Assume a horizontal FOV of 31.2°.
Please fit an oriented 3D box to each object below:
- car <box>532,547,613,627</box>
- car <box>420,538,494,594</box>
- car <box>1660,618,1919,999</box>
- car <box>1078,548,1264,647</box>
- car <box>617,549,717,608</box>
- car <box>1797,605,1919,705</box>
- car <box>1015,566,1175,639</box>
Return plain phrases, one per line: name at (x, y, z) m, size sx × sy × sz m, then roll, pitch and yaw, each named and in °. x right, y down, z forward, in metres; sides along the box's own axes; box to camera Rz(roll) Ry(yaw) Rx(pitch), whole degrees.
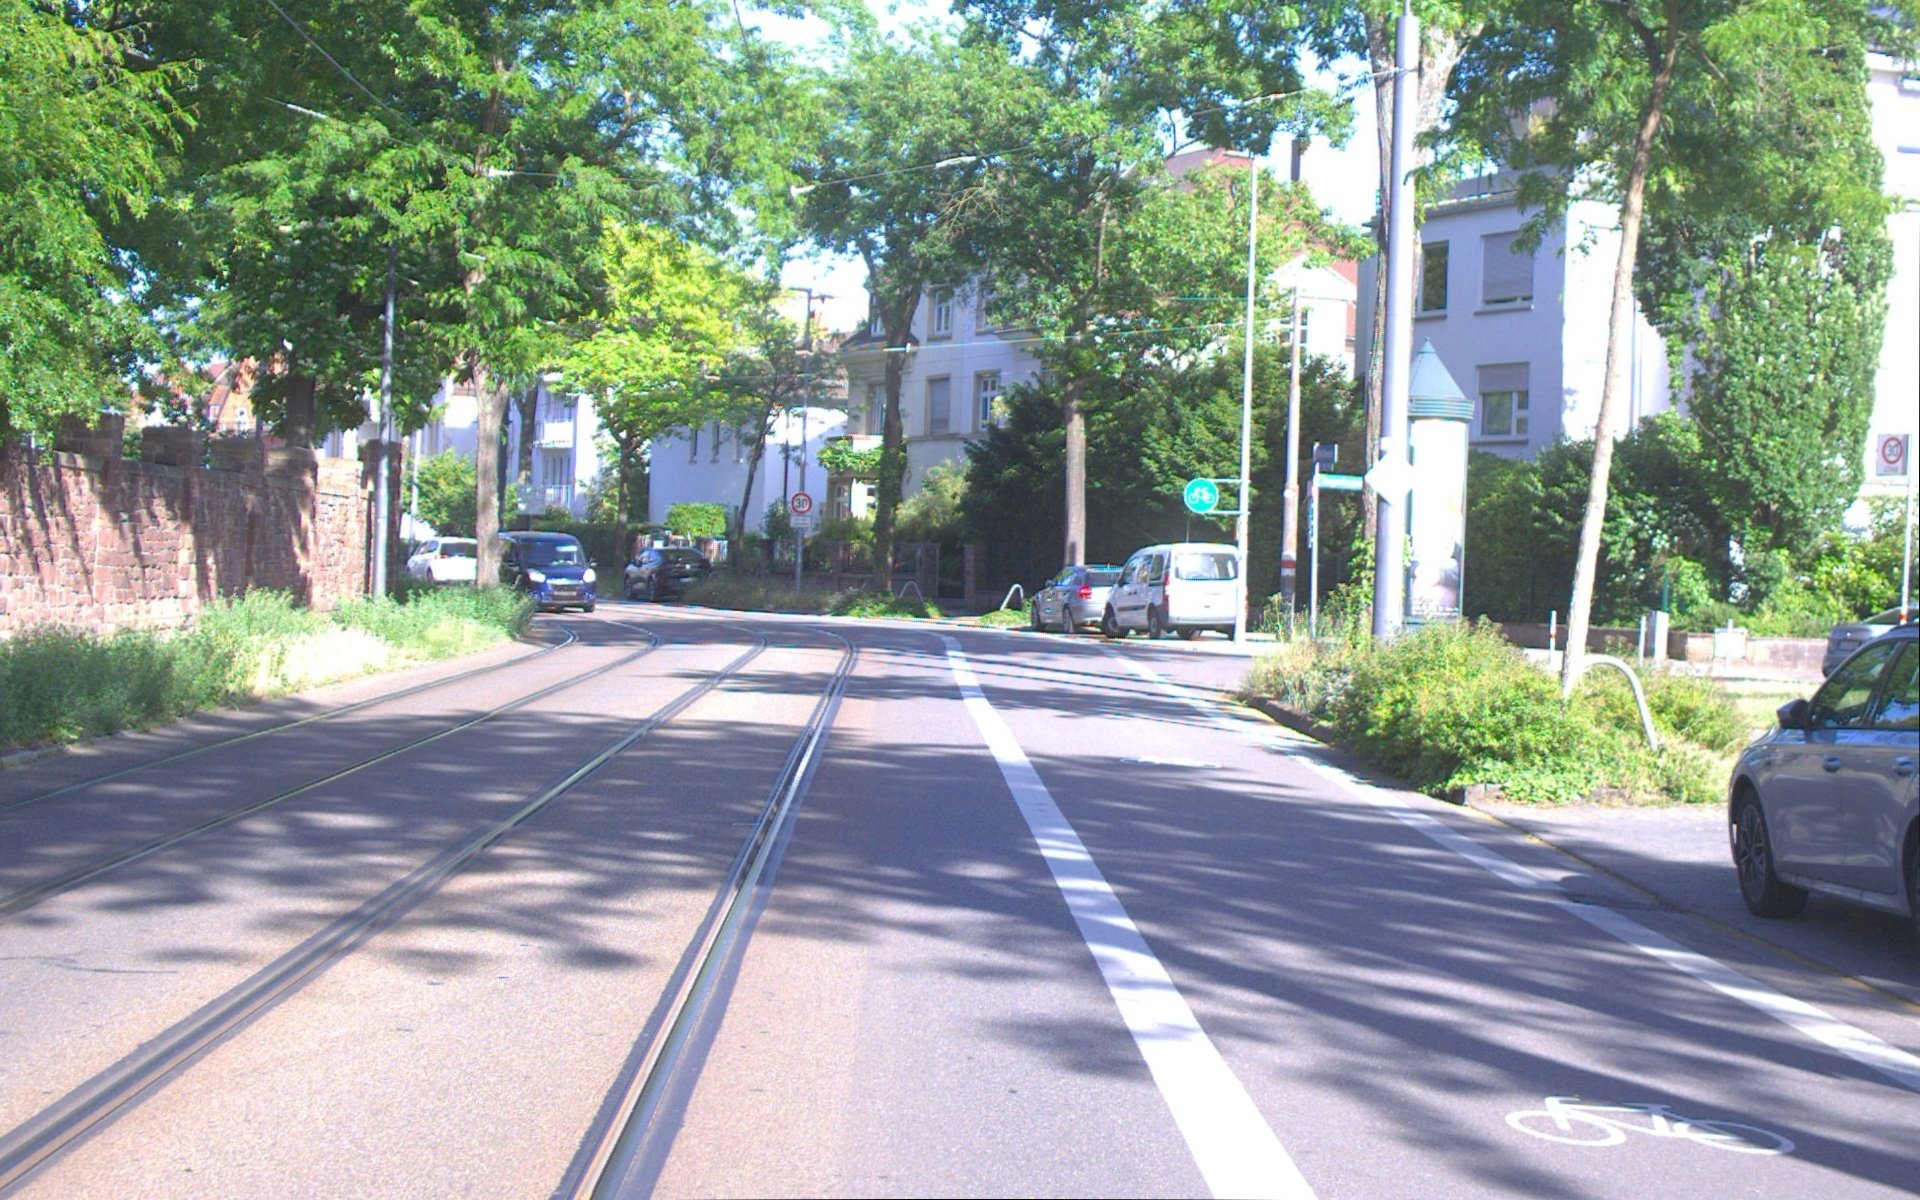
car at (-9.072, -0.324, 80.699) m, size 1.632 × 1.786 × 4.338 m, roll 2°, pitch 1°, yaw -4°
car at (-15.978, -1.055, 109.057) m, size 1.892 × 1.605 × 4.230 m, roll 2°, pitch -1°, yaw -13°
car at (4.802, 0.850, 15.385) m, size 2.000 × 1.460 × 5.433 m, roll -1°, pitch 0°, yaw -2°
car at (3.987, -0.070, 65.751) m, size 2.022 × 1.741 × 4.753 m, roll 2°, pitch 1°, yaw -16°
car at (-8.840, -0.667, 103.548) m, size 1.804 × 1.688 × 4.730 m, roll -2°, pitch 2°, yaw -20°
car at (14.791, 0.843, 50.399) m, size 4.509 × 1.364 × 1.969 m, roll 2°, pitch 0°, yaw -19°
car at (2.769, 0.039, 71.638) m, size 1.993 × 1.418 × 4.334 m, roll 2°, pitch 0°, yaw -17°
